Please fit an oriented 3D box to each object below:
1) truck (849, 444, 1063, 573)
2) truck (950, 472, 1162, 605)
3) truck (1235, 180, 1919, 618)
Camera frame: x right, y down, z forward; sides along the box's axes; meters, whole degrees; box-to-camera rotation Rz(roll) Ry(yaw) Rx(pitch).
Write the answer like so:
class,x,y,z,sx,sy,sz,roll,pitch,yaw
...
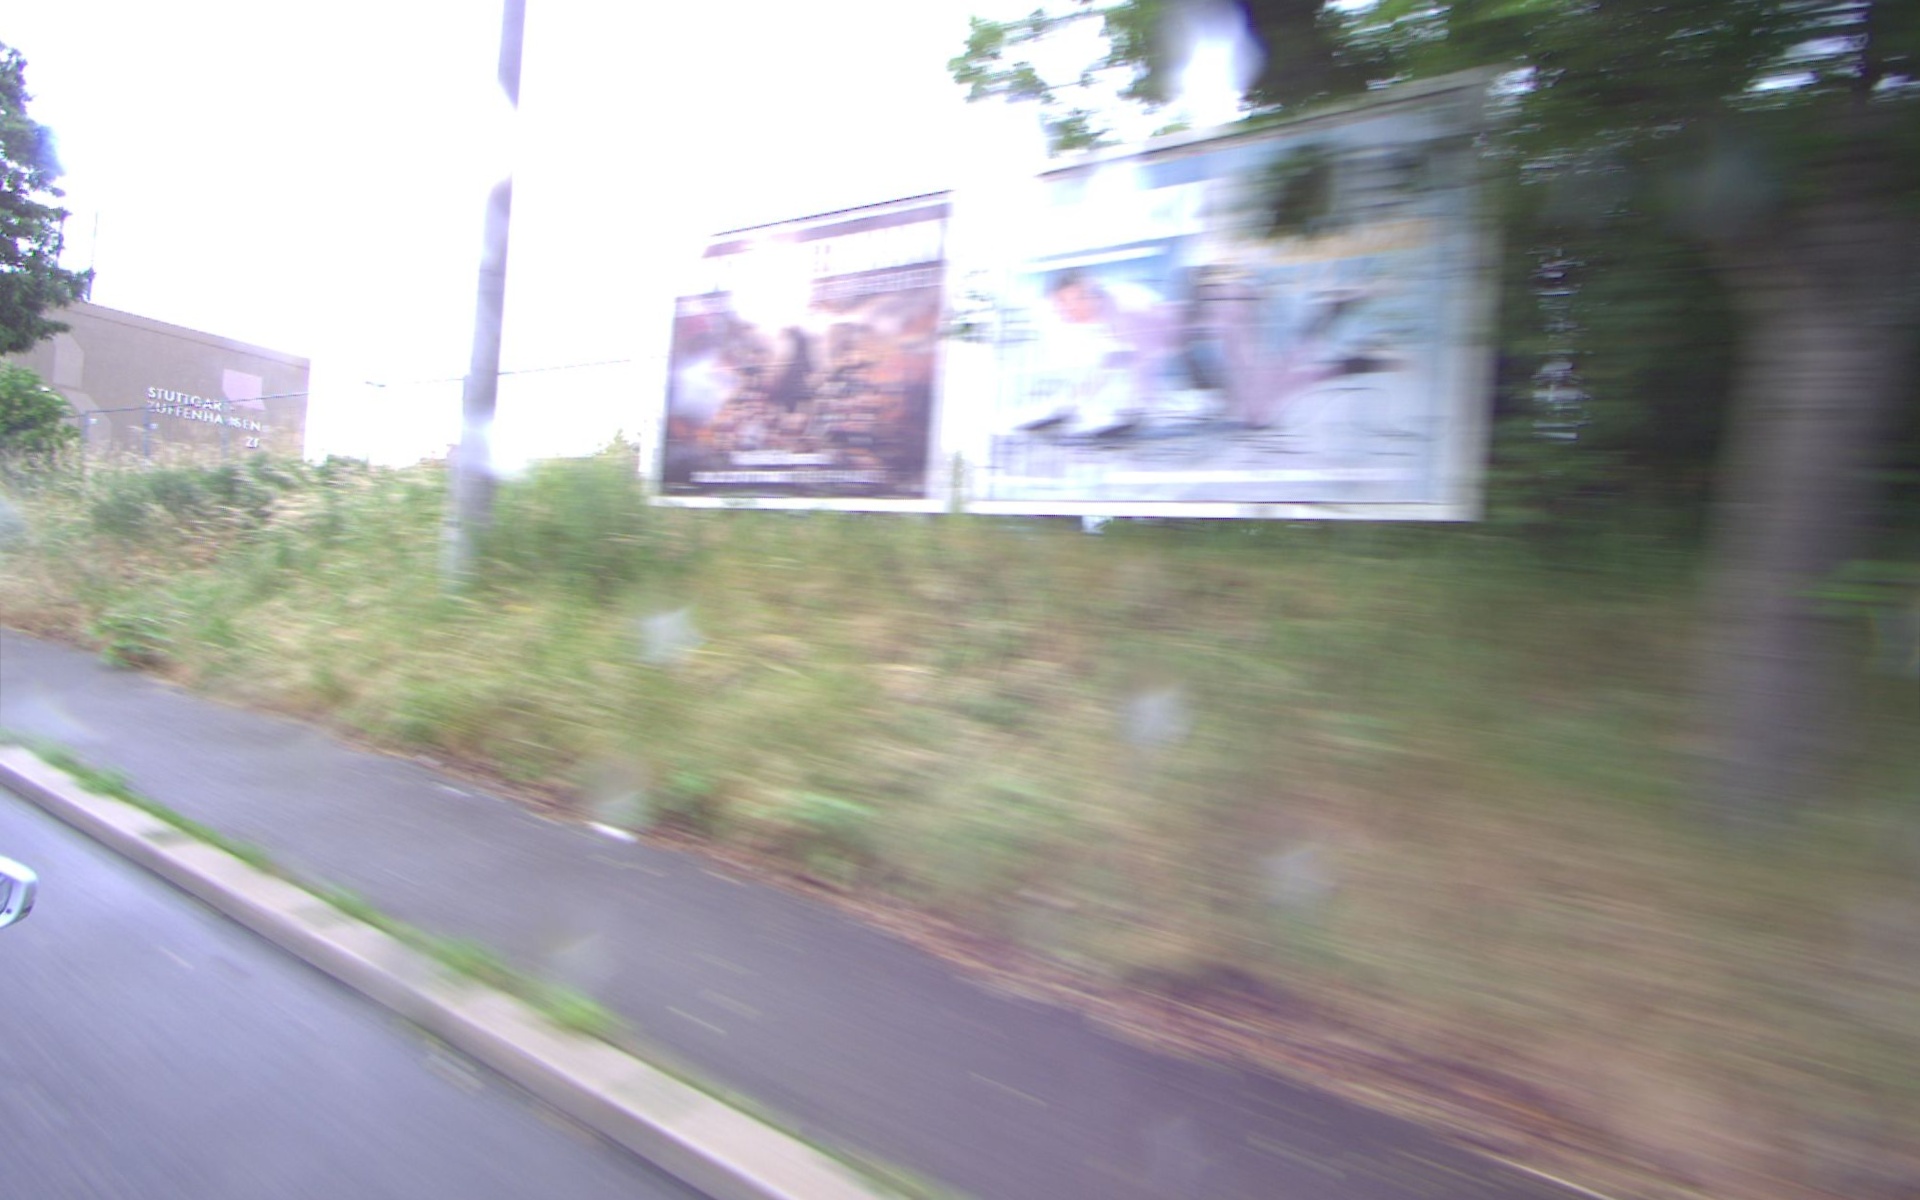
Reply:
class,x,y,z,sx,sy,sz,roll,pitch,yaw
truck,0.182,-2.521,29.901,2.587,2.650,8.013,4,-1,29
truck,2.970,-1.494,27.726,2.543,2.648,8.310,4,-1,29
truck,5.765,-1.494,8.644,5.954,2.676,2.293,4,-6,32
